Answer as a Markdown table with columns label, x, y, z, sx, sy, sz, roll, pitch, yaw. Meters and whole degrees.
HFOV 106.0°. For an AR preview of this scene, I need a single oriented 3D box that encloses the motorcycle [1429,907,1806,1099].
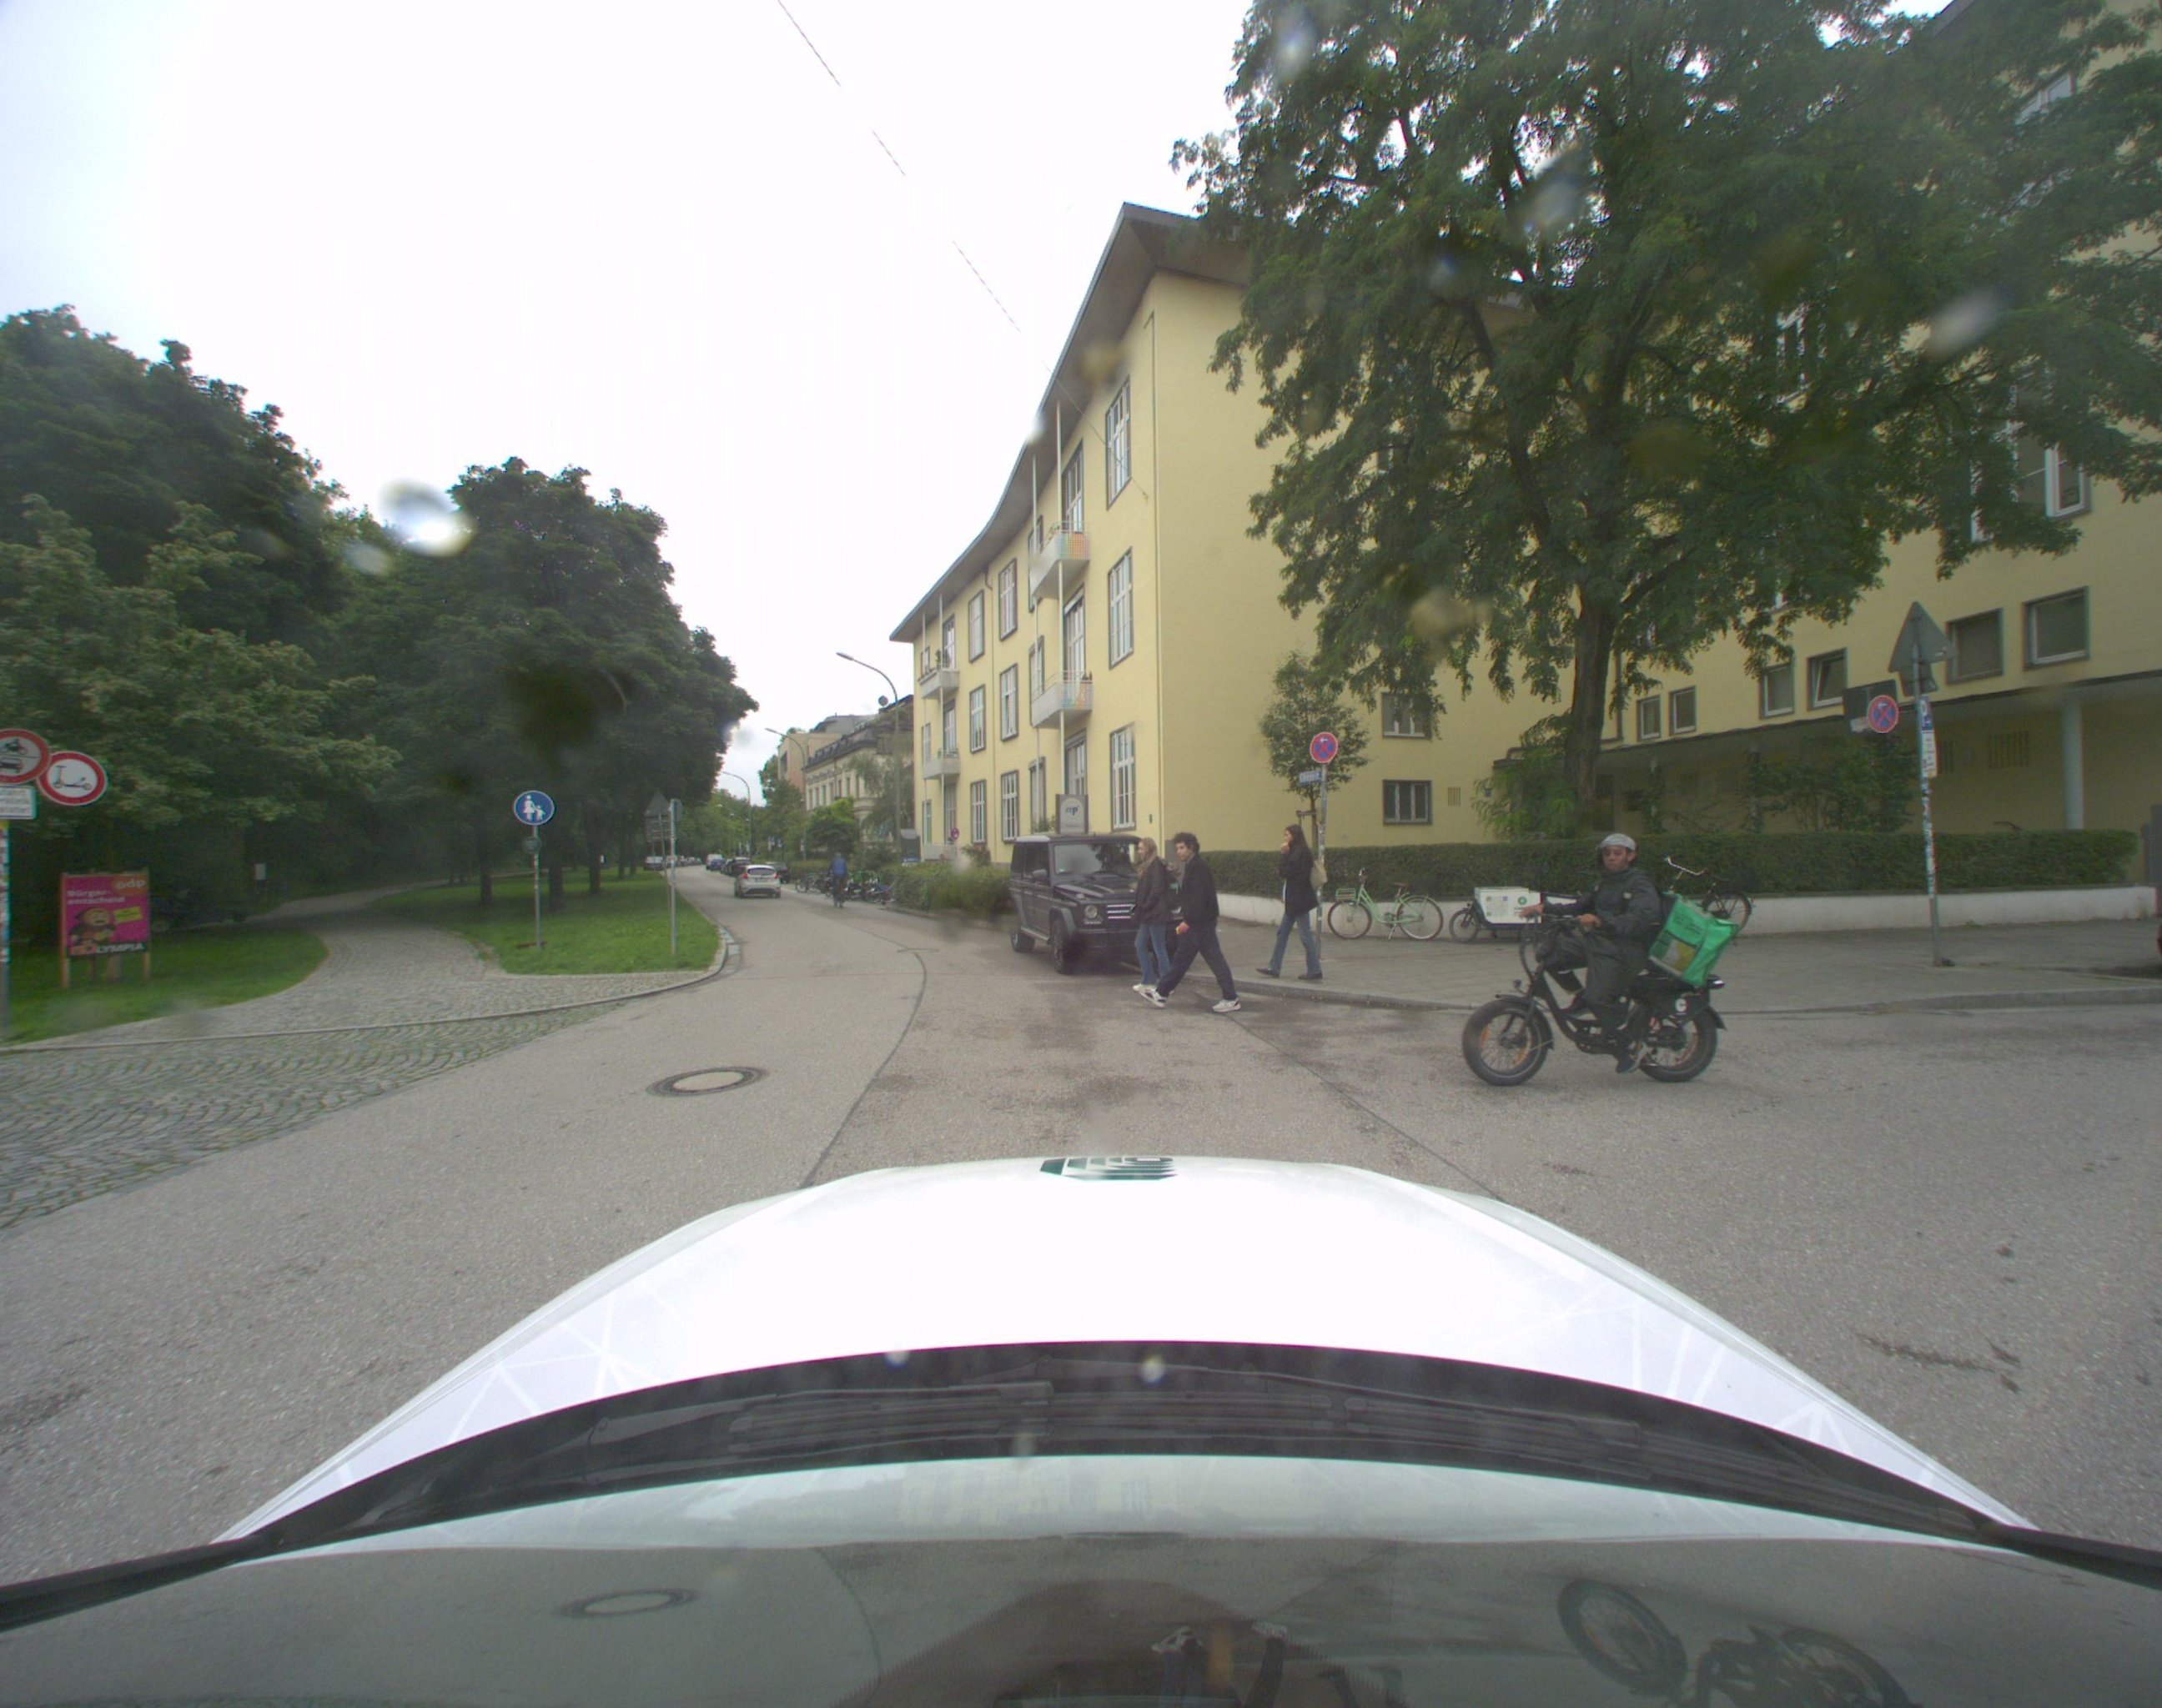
| label | x | y | z | sx | sy | sz | roll | pitch | yaw |
| --- | --- | --- | --- | --- | --- | --- | --- | --- | --- |
| motorcycle | 3.428 | 0.944 | 5.346 | 1.963 | 1.098 | 0.719 | -1 | 0 | 3 |

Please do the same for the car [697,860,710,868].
| label | x | y | z | sx | sy | sz | roll | pitch | yaw |
| --- | --- | --- | --- | --- | --- | --- | --- | --- | --- |
| car | -81.766 | 2.171 | 176.351 | 2.000 | 1.600 | 4.438 | -1 | 0 | -20 |

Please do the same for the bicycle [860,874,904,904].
| label | x | y | z | sx | sy | sz | roll | pitch | yaw |
| --- | --- | --- | --- | --- | --- | --- | --- | --- | --- |
| bicycle | -7.526 | 1.316 | 30.832 | 1.542 | 1.014 | 0.364 | -2 | 0 | -30 |

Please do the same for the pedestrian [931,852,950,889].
| label | x | y | z | sx | sy | sz | roll | pitch | yaw |
| --- | --- | --- | --- | --- | --- | --- | --- | --- | --- |
| pedestrian | -6.525 | 0.774 | 37.877 | 0.635 | 1.684 | 0.691 | -2 | 0 | -28 |

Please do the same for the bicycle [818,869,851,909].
| label | x | y | z | sx | sy | sz | roll | pitch | yaw |
| --- | --- | --- | --- | --- | --- | --- | --- | --- | --- |
| bicycle | -8.484 | 1.175 | 27.949 | 0.924 | 1.252 | 2.305 | -1 | 0 | -21 |

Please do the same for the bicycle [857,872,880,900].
| label | x | y | z | sx | sy | sz | roll | pitch | yaw |
| --- | --- | --- | --- | --- | --- | --- | --- | --- | --- |
| bicycle | -8.487 | 1.275 | 32.503 | 0.364 | 1.014 | 1.540 | -2 | 0 | 5 |

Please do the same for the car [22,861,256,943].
| label | x | y | z | sx | sy | sz | roll | pitch | yaw |
| --- | --- | --- | --- | --- | --- | --- | --- | --- | --- |
| car | -26.597 | 1.279 | 23.164 | 1.765 | 2.013 | 4.024 | -2 | 0 | 27 |

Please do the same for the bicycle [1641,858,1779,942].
| label | x | y | z | sx | sy | sz | roll | pitch | yaw |
| --- | --- | --- | --- | --- | --- | --- | --- | --- | --- |
| bicycle | 8.968 | 0.643 | 11.627 | 1.679 | 1.130 | 0.459 | -1 | 0 | -5 |

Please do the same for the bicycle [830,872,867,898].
| label | x | y | z | sx | sy | sz | roll | pitch | yaw |
| --- | --- | --- | --- | --- | --- | --- | --- | --- | --- |
| bicycle | -9.786 | 1.307 | 34.324 | 0.404 | 1.014 | 1.548 | -2 | 0 | 36 |

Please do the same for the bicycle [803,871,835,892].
| label | x | y | z | sx | sy | sz | roll | pitch | yaw |
| --- | --- | --- | --- | --- | --- | --- | --- | --- | --- |
| bicycle | -13.635 | 1.433 | 42.441 | 1.547 | 1.014 | 0.404 | -3 | 0 | -45 |

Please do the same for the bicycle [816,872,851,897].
| label | x | y | z | sx | sy | sz | roll | pitch | yaw |
| --- | --- | --- | --- | --- | --- | --- | --- | --- | --- |
| bicycle | -11.149 | 1.366 | 36.735 | 0.404 | 1.014 | 1.547 | -2 | 0 | 33 |

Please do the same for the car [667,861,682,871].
| label | x | y | z | sx | sy | sz | roll | pitch | yaw |
| --- | --- | --- | --- | --- | --- | --- | --- | --- | --- |
| car | -67.346 | 1.923 | 134.884 | 2.003 | 1.600 | 4.432 | -1 | 0 | -24 |

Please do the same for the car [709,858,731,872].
| label | x | y | z | sx | sy | sz | roll | pitch | yaw |
| --- | --- | --- | --- | --- | --- | --- | --- | --- | --- |
| car | -42.609 | 1.311 | 96.059 | 2.006 | 1.600 | 4.214 | -1 | 0 | -29 |

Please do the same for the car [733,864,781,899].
| label | x | y | z | sx | sy | sz | roll | pitch | yaw |
| --- | --- | --- | --- | --- | --- | --- | --- | --- | --- |
| car | -14.510 | 1.181 | 36.375 | 1.756 | 1.406 | 3.695 | -1 | 0 | -26 |

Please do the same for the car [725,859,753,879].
| label | x | y | z | sx | sy | sz | roll | pitch | yaw |
| --- | --- | --- | --- | --- | --- | --- | --- | --- | --- |
| car | -30.444 | 1.345 | 72.487 | 1.804 | 1.680 | 3.962 | -1 | 0 | -29 |

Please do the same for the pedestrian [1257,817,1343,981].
| label | x | y | z | sx | sy | sz | roll | pitch | yaw |
| --- | --- | --- | --- | --- | --- | --- | --- | --- | --- |
| pedestrian | 2.602 | 0.523 | 9.761 | 0.845 | 1.857 | 0.768 | -3 | -1 | 9 |

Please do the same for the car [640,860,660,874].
| label | x | y | z | sx | sy | sz | roll | pitch | yaw |
| --- | --- | --- | --- | --- | --- | --- | --- | --- | --- |
| car | -49.243 | 1.479 | 93.075 | 2.005 | 1.600 | 4.426 | -1 | 0 | -28 |

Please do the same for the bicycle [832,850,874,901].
| label | x | y | z | sx | sy | sz | roll | pitch | yaw |
| --- | --- | --- | --- | --- | --- | --- | --- | --- | --- |
| bicycle | -9.428 | 0.875 | 33.782 | 0.451 | 2.013 | 1.688 | -2 | 0 | 37 |

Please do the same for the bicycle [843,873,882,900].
| label | x | y | z | sx | sy | sz | roll | pitch | yaw |
| --- | --- | --- | --- | --- | --- | --- | --- | --- | --- |
| bicycle | -8.986 | 1.308 | 33.536 | 0.362 | 1.014 | 1.547 | -2 | 0 | 41 |

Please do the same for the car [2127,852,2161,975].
| label | x | y | z | sx | sy | sz | roll | pitch | yaw |
| --- | --- | --- | --- | --- | --- | --- | --- | --- | --- |
| car | 14.192 | 0.589 | 8.588 | 4.309 | 1.367 | 1.660 | -1 | -3 | -3 |

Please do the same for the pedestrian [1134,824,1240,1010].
| label | x | y | z | sx | sy | sz | roll | pitch | yaw |
| --- | --- | --- | --- | --- | --- | --- | --- | --- | --- |
| pedestrian | 1.089 | 0.628 | 8.320 | 0.984 | 1.809 | 0.661 | -2 | -1 | 9 |

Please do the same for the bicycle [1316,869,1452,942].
| label | x | y | z | sx | sy | sz | roll | pitch | yaw |
| --- | --- | --- | --- | --- | --- | --- | --- | --- | --- |
| bicycle | 4.824 | 0.825 | 13.048 | 1.925 | 1.085 | 0.532 | -4 | -2 | 39 |

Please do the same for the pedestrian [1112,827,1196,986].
| label | x | y | z | sx | sy | sz | roll | pitch | yaw |
| --- | --- | --- | --- | --- | --- | --- | --- | --- | --- |
| pedestrian | 0.850 | 0.579 | 9.382 | 0.821 | 1.746 | 0.743 | -1 | 0 | 13 |

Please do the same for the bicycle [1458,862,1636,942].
| label | x | y | z | sx | sy | sz | roll | pitch | yaw |
| --- | --- | --- | --- | --- | --- | --- | --- | --- | --- |
| bicycle | 6.774 | 0.703 | 11.946 | 2.153 | 1.115 | 0.643 | -1 | 0 | 12 |

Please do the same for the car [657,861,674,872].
| label | x | y | z | sx | sy | sz | roll | pitch | yaw |
| --- | --- | --- | --- | --- | --- | --- | --- | --- | --- |
| car | -62.099 | 1.829 | 121.840 | 2.003 | 1.600 | 4.432 | -1 | 0 | -24 |

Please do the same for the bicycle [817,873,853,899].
| label | x | y | z | sx | sy | sz | roll | pitch | yaw |
| --- | --- | --- | --- | --- | --- | --- | --- | --- | --- |
| bicycle | -10.554 | 1.350 | 35.006 | 0.404 | 1.014 | 1.547 | -2 | 0 | 33 |

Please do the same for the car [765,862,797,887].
| label | x | y | z | sx | sy | sz | roll | pitch | yaw |
| --- | --- | --- | --- | --- | --- | --- | --- | --- | --- |
| car | -20.495 | 1.381 | 55.497 | 1.655 | 1.558 | 3.528 | -1 | 0 | -26 |

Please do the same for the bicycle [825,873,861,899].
| label | x | y | z | sx | sy | sz | roll | pitch | yaw |
| --- | --- | --- | --- | --- | --- | --- | --- | --- | --- |
| bicycle | -10.139 | 1.363 | 34.730 | 0.404 | 1.014 | 1.547 | -2 | 0 | 33 |

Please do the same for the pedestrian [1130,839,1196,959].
| label | x | y | z | sx | sy | sz | roll | pitch | yaw |
| --- | --- | --- | --- | --- | --- | --- | --- | --- | --- |
| pedestrian | 1.258 | 0.670 | 12.629 | 0.846 | 1.757 | 0.953 | -2 | 0 | -2 |

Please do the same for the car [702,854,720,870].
| label | x | y | z | sx | sy | sz | roll | pitch | yaw |
| --- | --- | --- | --- | --- | --- | --- | --- | --- | --- |
| car | -47.302 | 0.974 | 104.090 | 2.076 | 1.966 | 4.936 | -1 | 0 | -25 |

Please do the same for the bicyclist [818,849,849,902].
| label | x | y | z | sx | sy | sz | roll | pitch | yaw |
| --- | --- | --- | --- | --- | --- | --- | --- | --- | --- |
| bicyclist | -8.525 | 0.733 | 27.999 | 0.917 | 1.764 | 1.206 | -1 | 0 | -21 |

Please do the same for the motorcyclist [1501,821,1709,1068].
| label | x | y | z | sx | sy | sz | roll | pitch | yaw |
| --- | --- | --- | --- | --- | --- | --- | --- | --- | --- |
| motorcyclist | 3.395 | 0.558 | 5.352 | 0.892 | 1.501 | 0.714 | -1 | 0 | 3 |

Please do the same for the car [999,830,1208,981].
| label | x | y | z | sx | sy | sz | roll | pitch | yaw |
| --- | --- | --- | --- | --- | --- | --- | --- | --- | --- |
| car | 0.102 | 0.650 | 12.791 | 1.878 | 1.887 | 4.591 | -1 | 0 | -17 |
